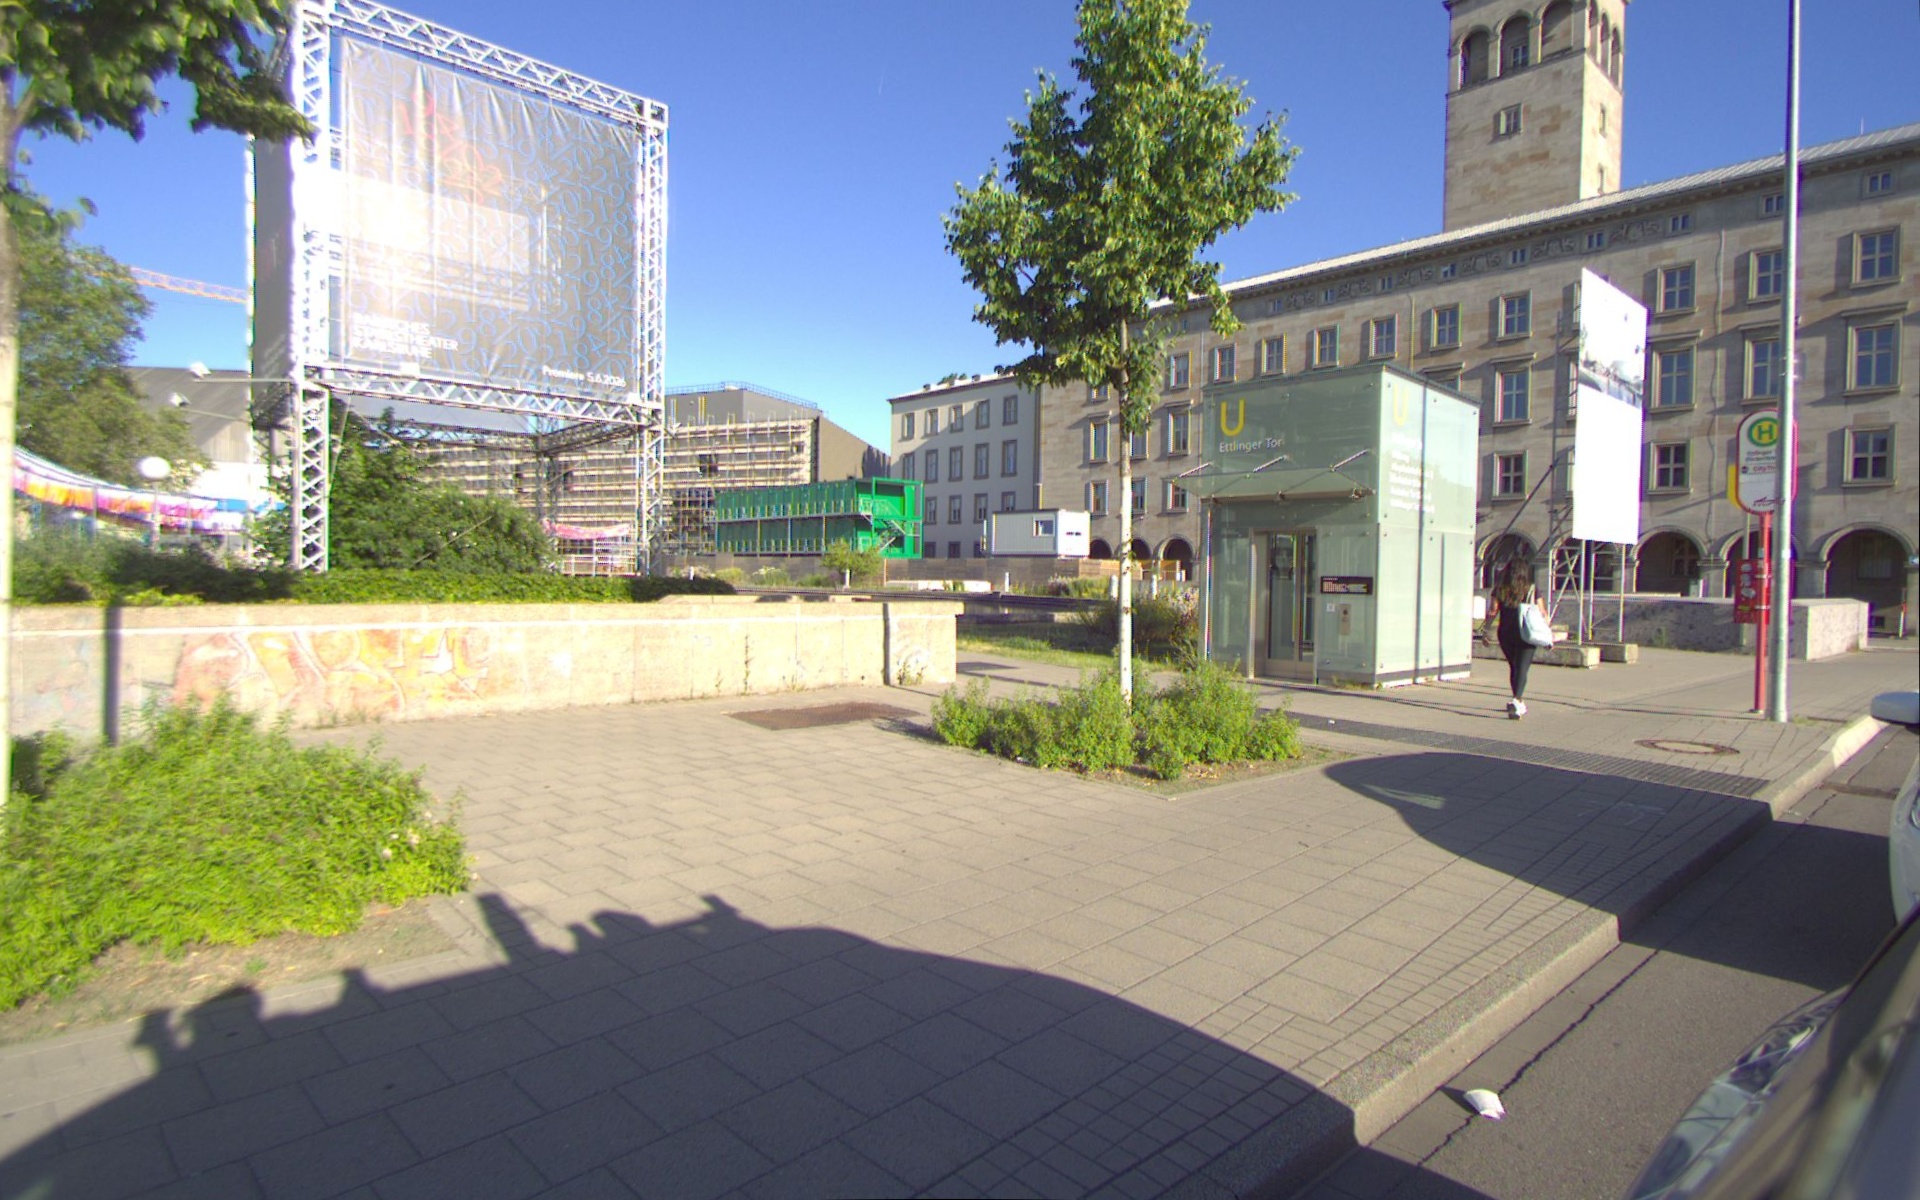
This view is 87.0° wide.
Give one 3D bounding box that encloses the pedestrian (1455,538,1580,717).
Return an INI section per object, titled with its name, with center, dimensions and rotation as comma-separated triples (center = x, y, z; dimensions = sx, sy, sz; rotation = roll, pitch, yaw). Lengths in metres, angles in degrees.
[pedestrian]
center = 6.041, 0.268, 10.953
dimensions = 0.939, 1.809, 1.056
rotation = 2, 1, 43

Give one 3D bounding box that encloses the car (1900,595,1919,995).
[car]
center = 5.392, 0.713, 4.552
dimensions = 1.674, 1.467, 3.828
rotation = 0, 0, 43
